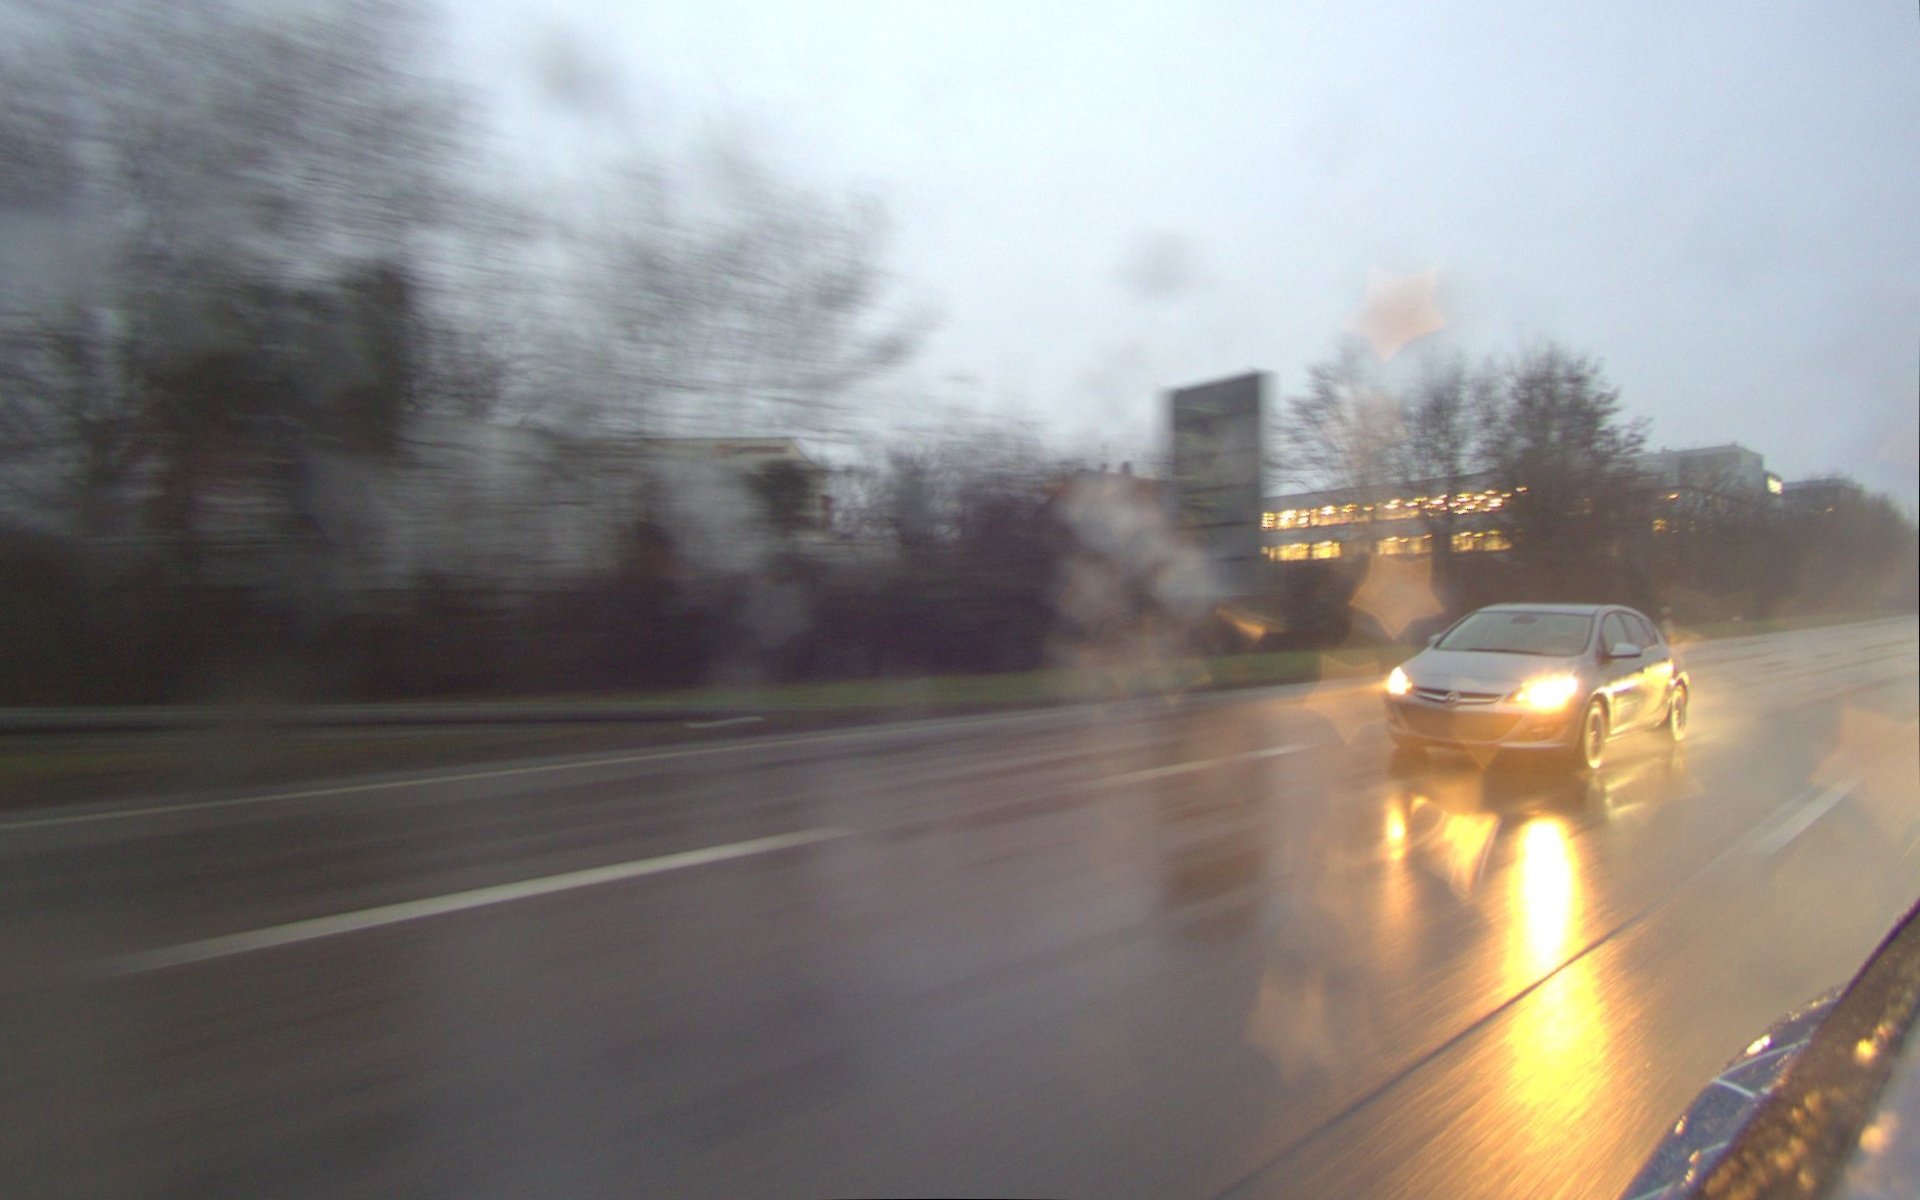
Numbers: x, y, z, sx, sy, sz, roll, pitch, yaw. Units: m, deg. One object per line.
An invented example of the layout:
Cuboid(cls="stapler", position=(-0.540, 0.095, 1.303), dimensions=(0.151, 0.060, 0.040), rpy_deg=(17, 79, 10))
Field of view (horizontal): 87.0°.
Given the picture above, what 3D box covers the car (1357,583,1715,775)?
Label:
Cuboid(cls="car", position=(5.944, 0.627, 10.243), dimensions=(4.188, 1.520, 1.852), rpy_deg=(-1, 0, -41))
